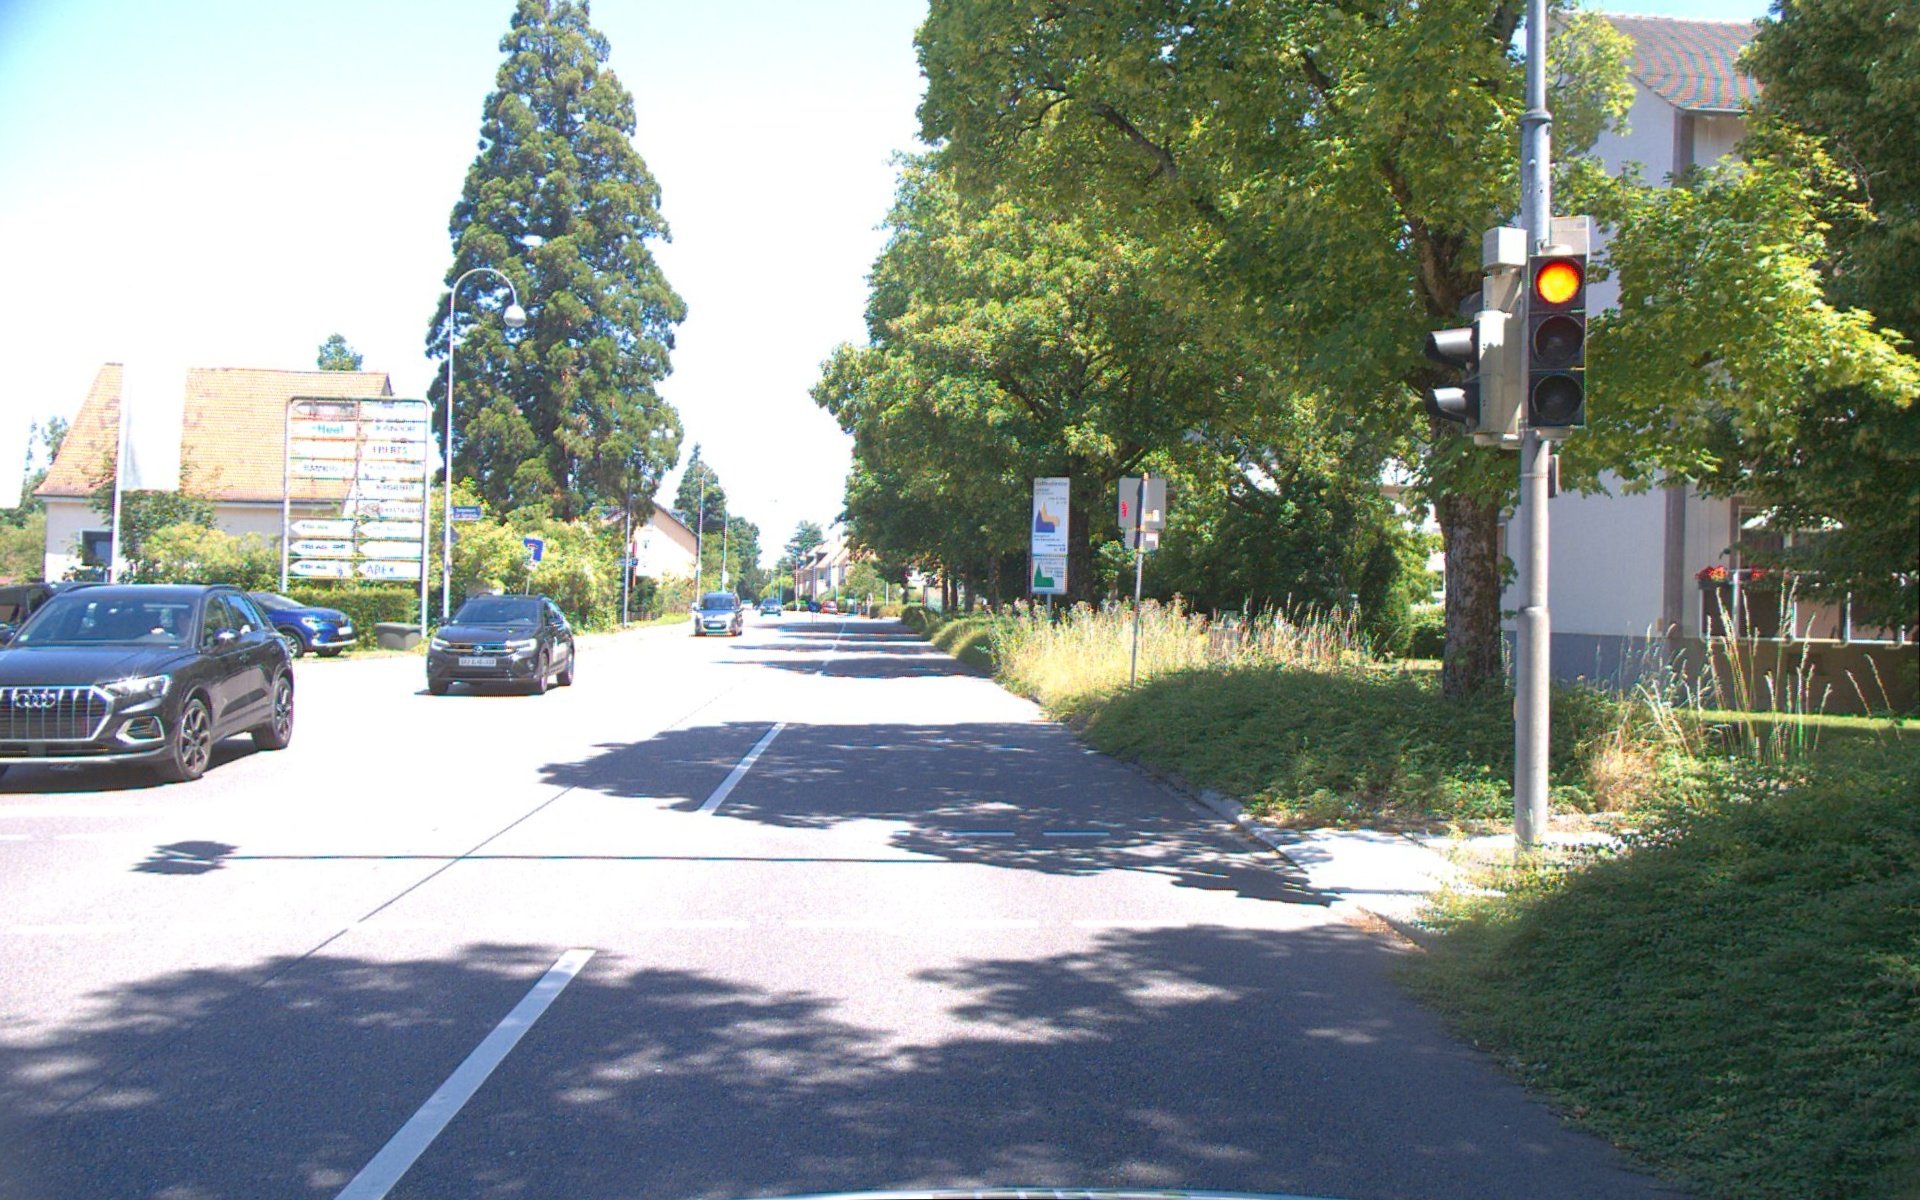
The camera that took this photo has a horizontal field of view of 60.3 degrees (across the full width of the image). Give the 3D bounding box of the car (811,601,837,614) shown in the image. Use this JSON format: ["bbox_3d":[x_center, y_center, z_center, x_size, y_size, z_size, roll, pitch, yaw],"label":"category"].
[{"bbox_3d":[-15.215,0.818,185.261,1.914,1.383,4.439,0,0,-19],"label":"car"}]

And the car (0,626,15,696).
[{"bbox_3d":[-24.743,1.529,40.071,1.775,1.752,4.081,1,0,-8],"label":"car"}]

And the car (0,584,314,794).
[{"bbox_3d":[-7.278,0.674,14.674,1.890,1.582,4.295,0,0,-8],"label":"car"}]

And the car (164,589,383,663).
[{"bbox_3d":[-14.873,0.546,35.928,4.047,1.531,1.779,0,0,8],"label":"car"}]

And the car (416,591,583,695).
[{"bbox_3d":[-7.257,0.641,26.444,1.832,1.533,4.049,0,0,-5],"label":"car"}]

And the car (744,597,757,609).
[{"bbox_3d":[-31.903,0.472,252.051,1.647,1.713,3.998,0,0,-2],"label":"car"}]

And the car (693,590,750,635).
[{"bbox_3d":[-9.899,0.494,68.823,1.774,1.793,4.569,1,0,-1],"label":"car"}]

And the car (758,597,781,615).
[{"bbox_3d":[-17.108,0.550,148.581,1.758,1.563,4.312,1,0,-3],"label":"car"}]
